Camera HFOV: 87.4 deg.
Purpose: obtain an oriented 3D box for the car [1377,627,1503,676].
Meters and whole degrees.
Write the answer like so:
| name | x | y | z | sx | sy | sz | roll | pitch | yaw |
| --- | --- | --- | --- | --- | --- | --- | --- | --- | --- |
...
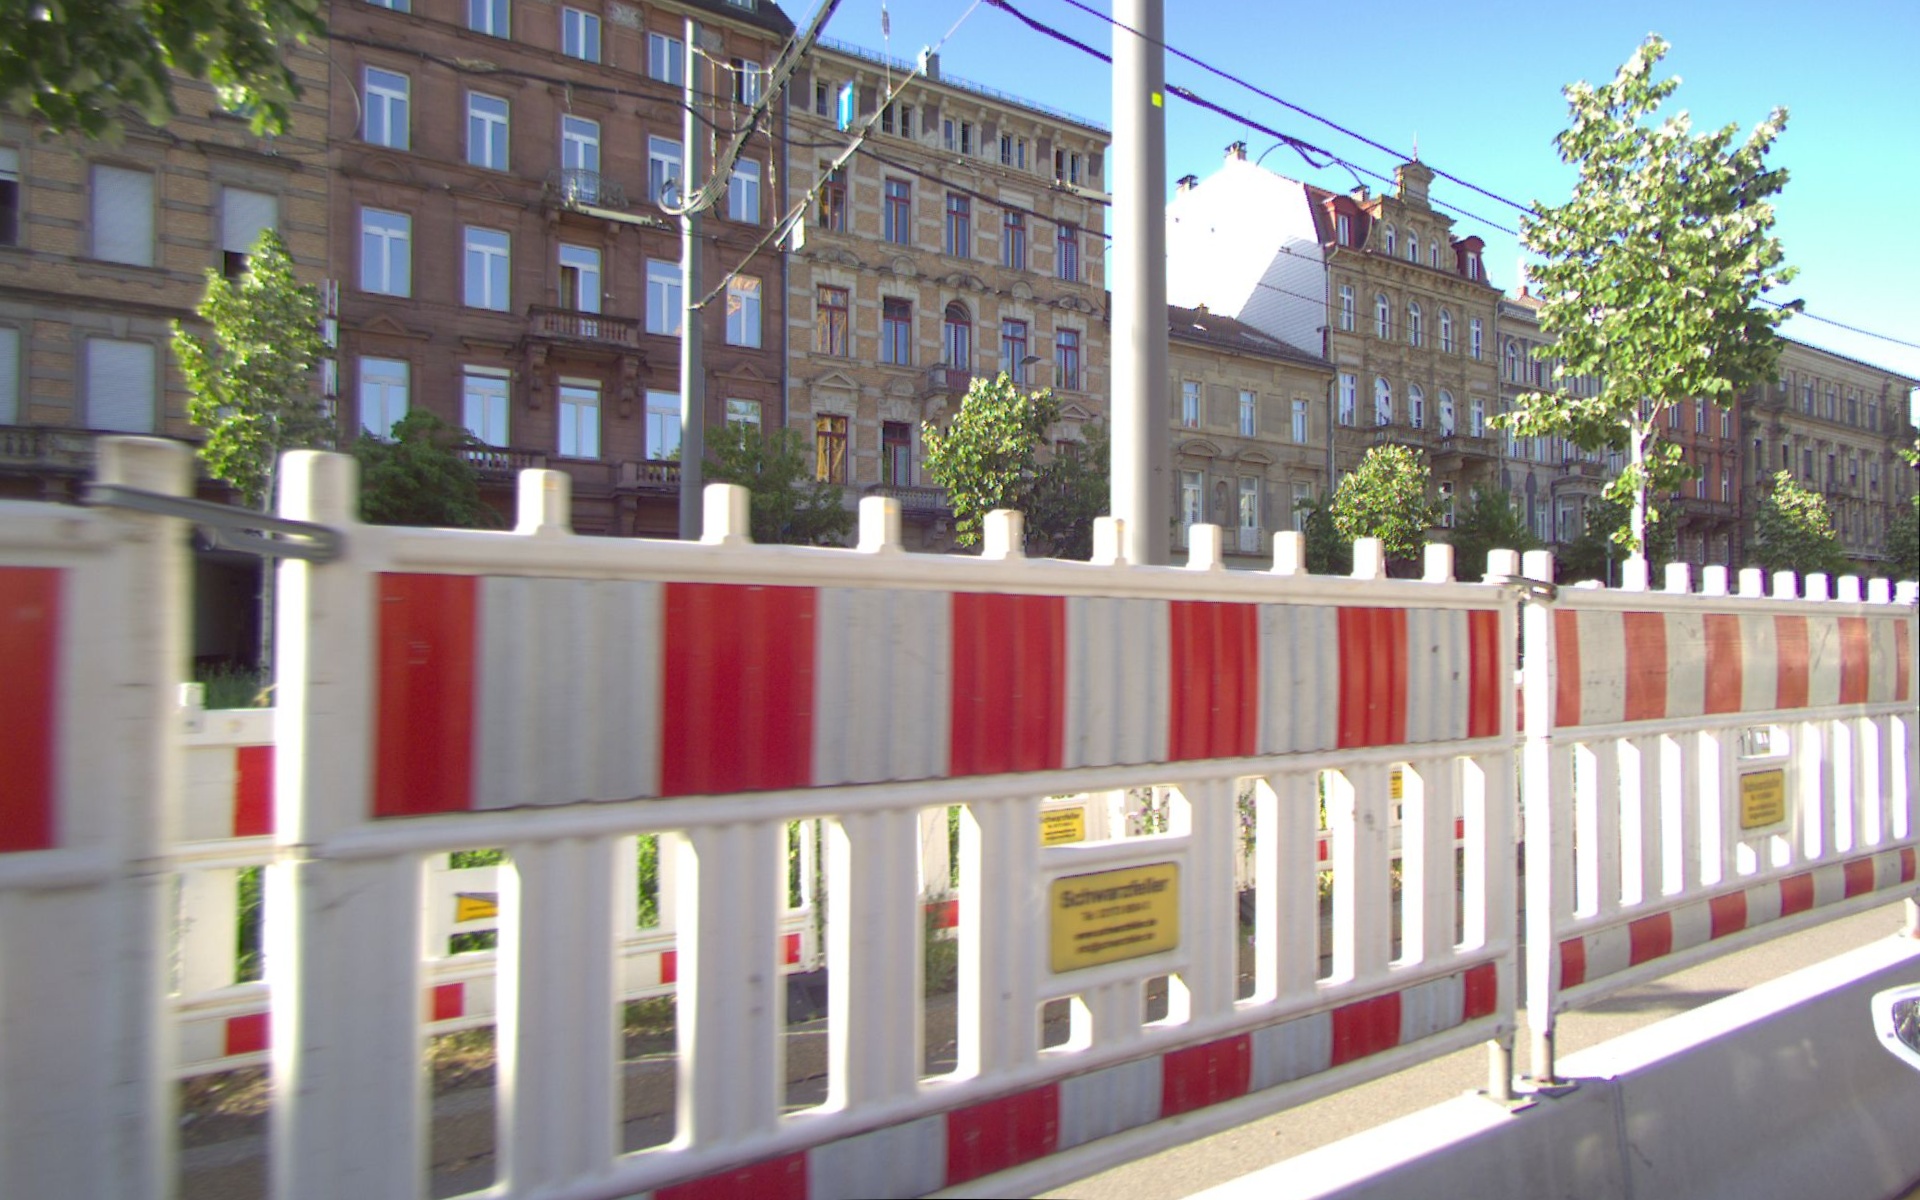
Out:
| name | x | y | z | sx | sy | sz | roll | pitch | yaw |
| --- | --- | --- | --- | --- | --- | --- | --- | --- | --- |
| car | 16.434 | 1.727 | 34.321 | 4.659 | 1.583 | 1.559 | 1 | -2 | -30 |

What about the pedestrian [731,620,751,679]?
| name | x | y | z | sx | sy | sz | roll | pitch | yaw |
| --- | --- | --- | --- | --- | --- | --- | --- | --- | --- |
| pedestrian | -6.051 | 1.365 | 27.731 | 0.381 | 1.606 | 0.431 | 1 | 1 | -32 |

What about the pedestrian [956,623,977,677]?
| name | x | y | z | sx | sy | sz | roll | pitch | yaw |
| --- | --- | --- | --- | --- | --- | --- | --- | --- | --- |
| pedestrian | 0.189 | 1.496 | 30.378 | 0.431 | 1.606 | 0.457 | 1 | 1 | -36 |

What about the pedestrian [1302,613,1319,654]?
| name | x | y | z | sx | sy | sz | roll | pitch | yaw |
| --- | --- | --- | --- | --- | --- | --- | --- | --- | --- |
| pedestrian | 13.600 | 1.300 | 39.011 | 0.430 | 1.555 | 0.403 | 1 | 0 | -29 |

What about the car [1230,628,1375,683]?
| name | x | y | z | sx | sy | sz | roll | pitch | yaw |
| --- | --- | --- | --- | --- | --- | --- | --- | --- | --- |
| car | 10.595 | 1.663 | 30.994 | 4.658 | 1.583 | 1.559 | 1 | -2 | -30 |

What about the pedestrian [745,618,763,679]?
| name | x | y | z | sx | sy | sz | roll | pitch | yaw |
| --- | --- | --- | --- | --- | --- | --- | --- | --- | --- |
| pedestrian | -5.569 | 1.307 | 27.104 | 0.335 | 1.606 | 0.427 | 1 | 1 | -29 |

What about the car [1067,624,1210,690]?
| name | x | y | z | sx | sy | sz | roll | pitch | yaw |
| --- | --- | --- | --- | --- | --- | --- | --- | --- | --- |
| car | 4.926 | 1.525 | 27.657 | 3.763 | 1.697 | 1.559 | 1 | -2 | -30 |
